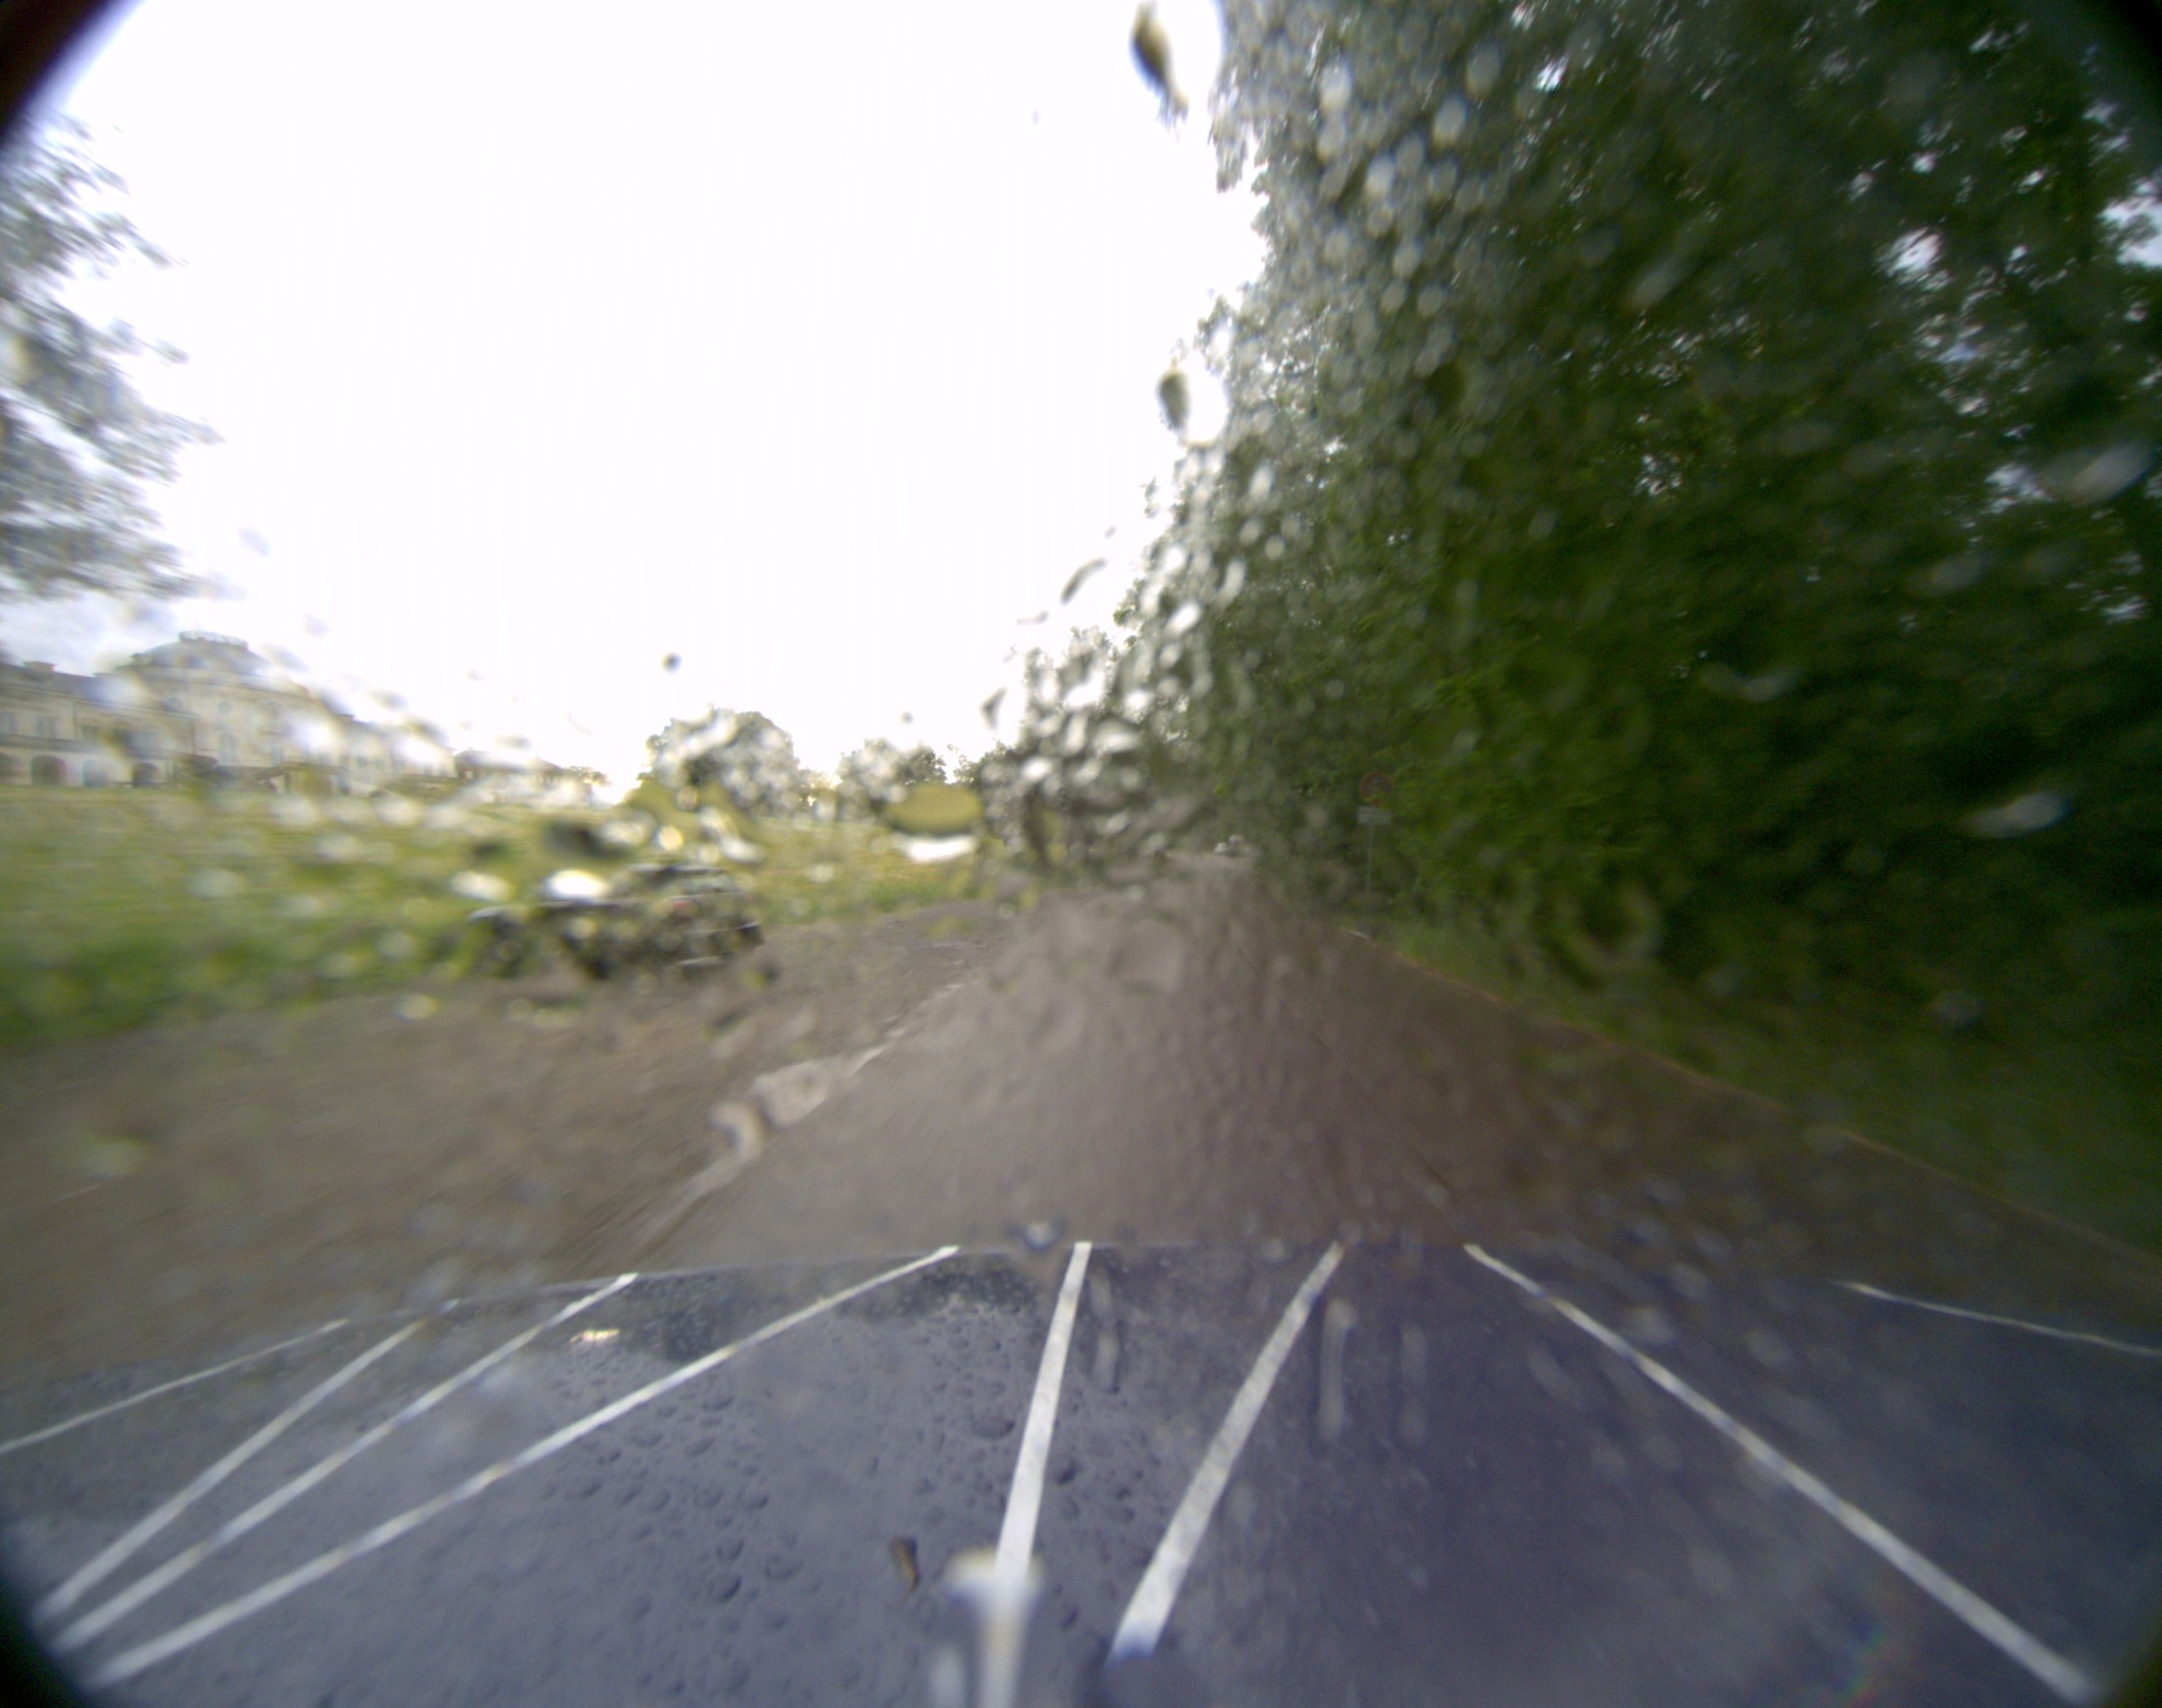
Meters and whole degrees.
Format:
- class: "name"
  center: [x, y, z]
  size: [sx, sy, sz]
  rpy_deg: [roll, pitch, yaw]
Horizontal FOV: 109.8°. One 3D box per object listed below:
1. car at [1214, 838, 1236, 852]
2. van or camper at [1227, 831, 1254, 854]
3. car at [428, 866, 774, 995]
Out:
- class: "car"
  center: [18.214, -1.143, 96.196]
  size: [2.103, 1.571, 4.558]
  rpy_deg: [2, 1, 4]
- class: "van or camper"
  center: [17.996, -1.307, 86.011]
  size: [2.201, 2.502, 4.837]
  rpy_deg: [2, 1, 4]
- class: "car"
  center: [-6.268, 0.982, 10.070]
  size: [3.713, 1.427, 1.708]
  rpy_deg: [-3, 1, 14]
